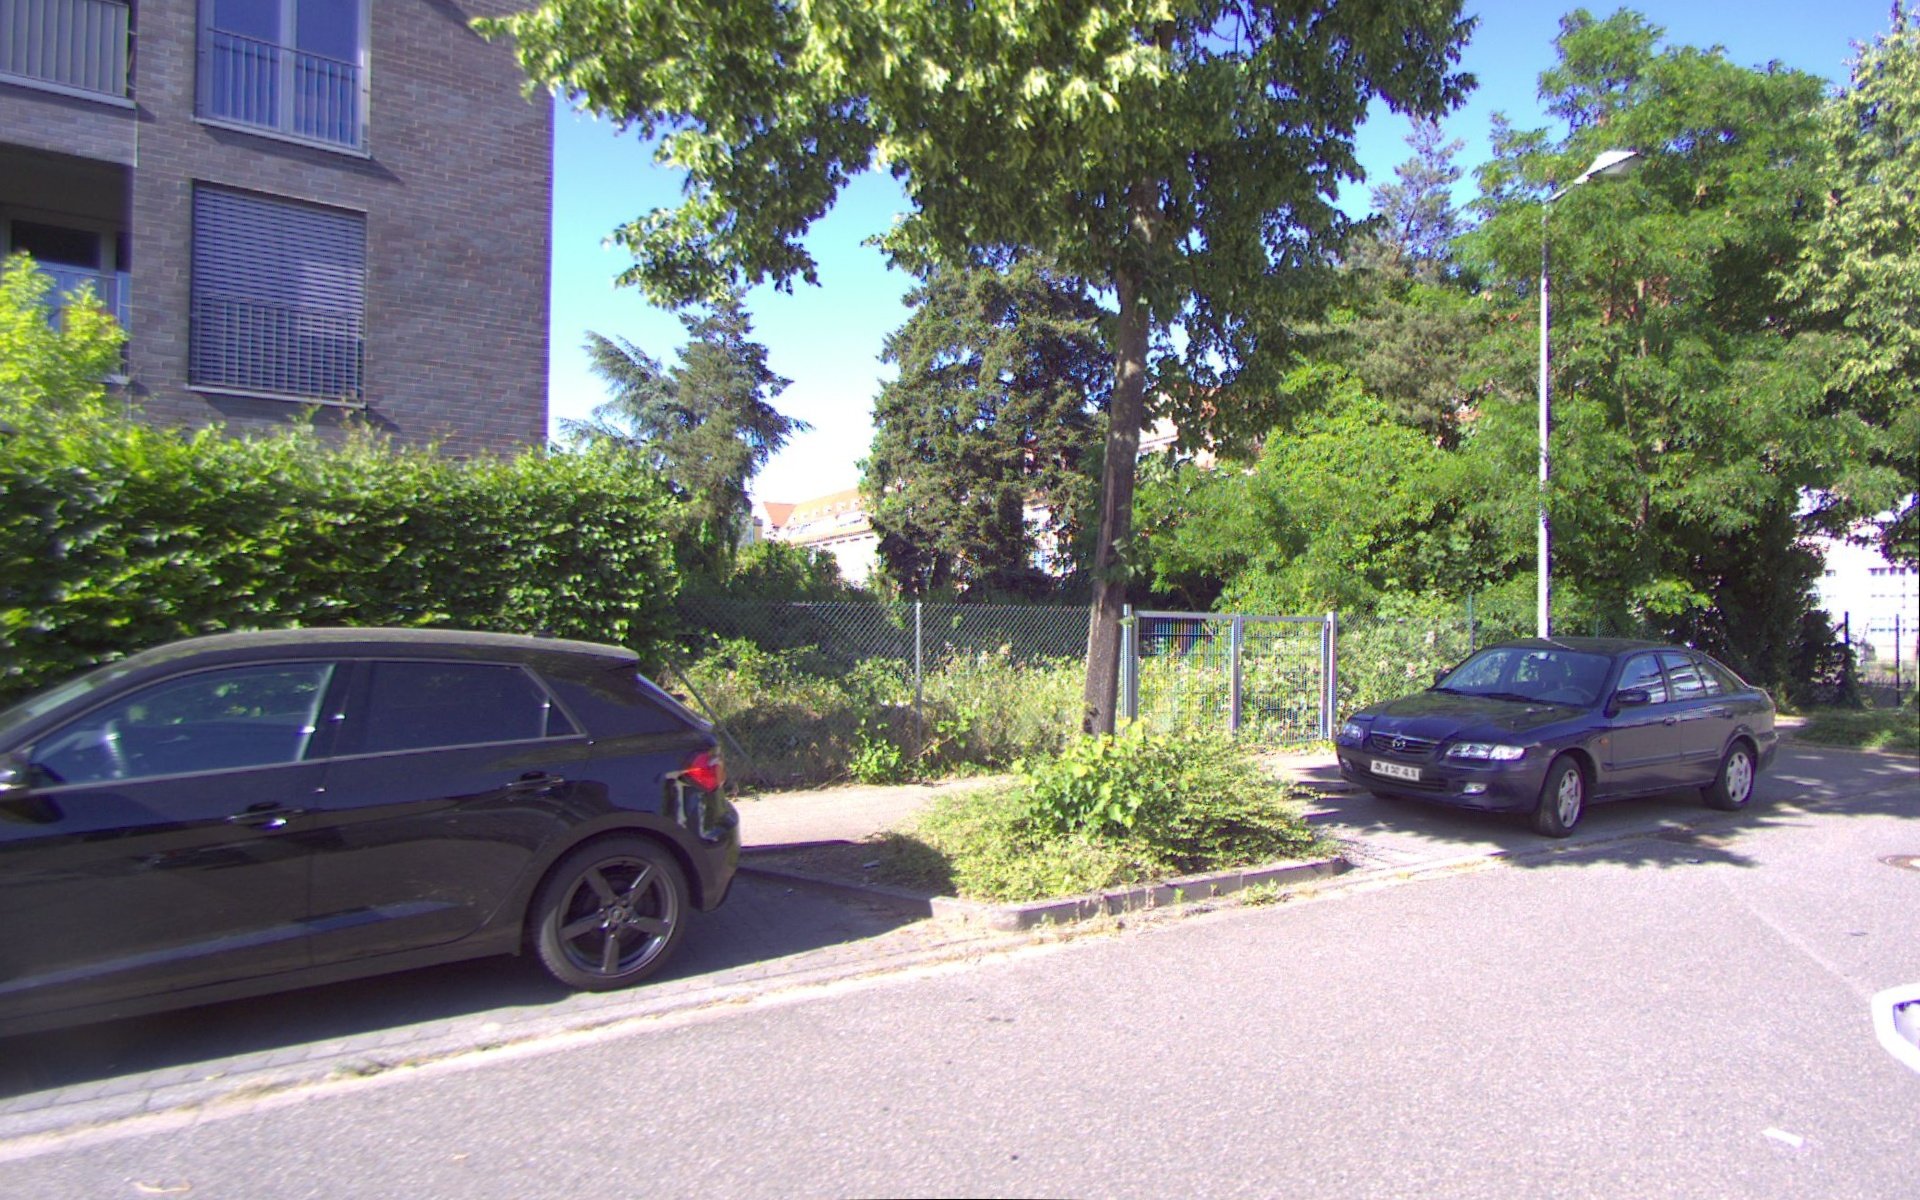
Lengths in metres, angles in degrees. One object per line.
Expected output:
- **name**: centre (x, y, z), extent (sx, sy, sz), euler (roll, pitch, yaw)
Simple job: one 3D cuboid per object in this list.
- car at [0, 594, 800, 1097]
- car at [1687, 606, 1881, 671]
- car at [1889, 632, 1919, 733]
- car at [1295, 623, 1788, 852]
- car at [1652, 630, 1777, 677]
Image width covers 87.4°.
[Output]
- **car**: centre (-2.875, 0.763, 4.122), extent (3.980, 1.493, 1.831), euler (2, 0, -31)
- **car**: centre (35.924, 1.660, 44.058), extent (2.139, 2.631, 6.236), euler (1, -2, -29)
- **car**: centre (16.318, 1.301, 15.516), extent (3.956, 1.493, 1.831), euler (2, 0, -31)
- **car**: centre (5.146, 1.015, 8.763), extent (4.309, 1.493, 1.831), euler (2, 0, -31)
- **car**: centre (27.502, 1.906, 36.613), extent (4.370, 1.631, 1.986), euler (1, -1, -28)
